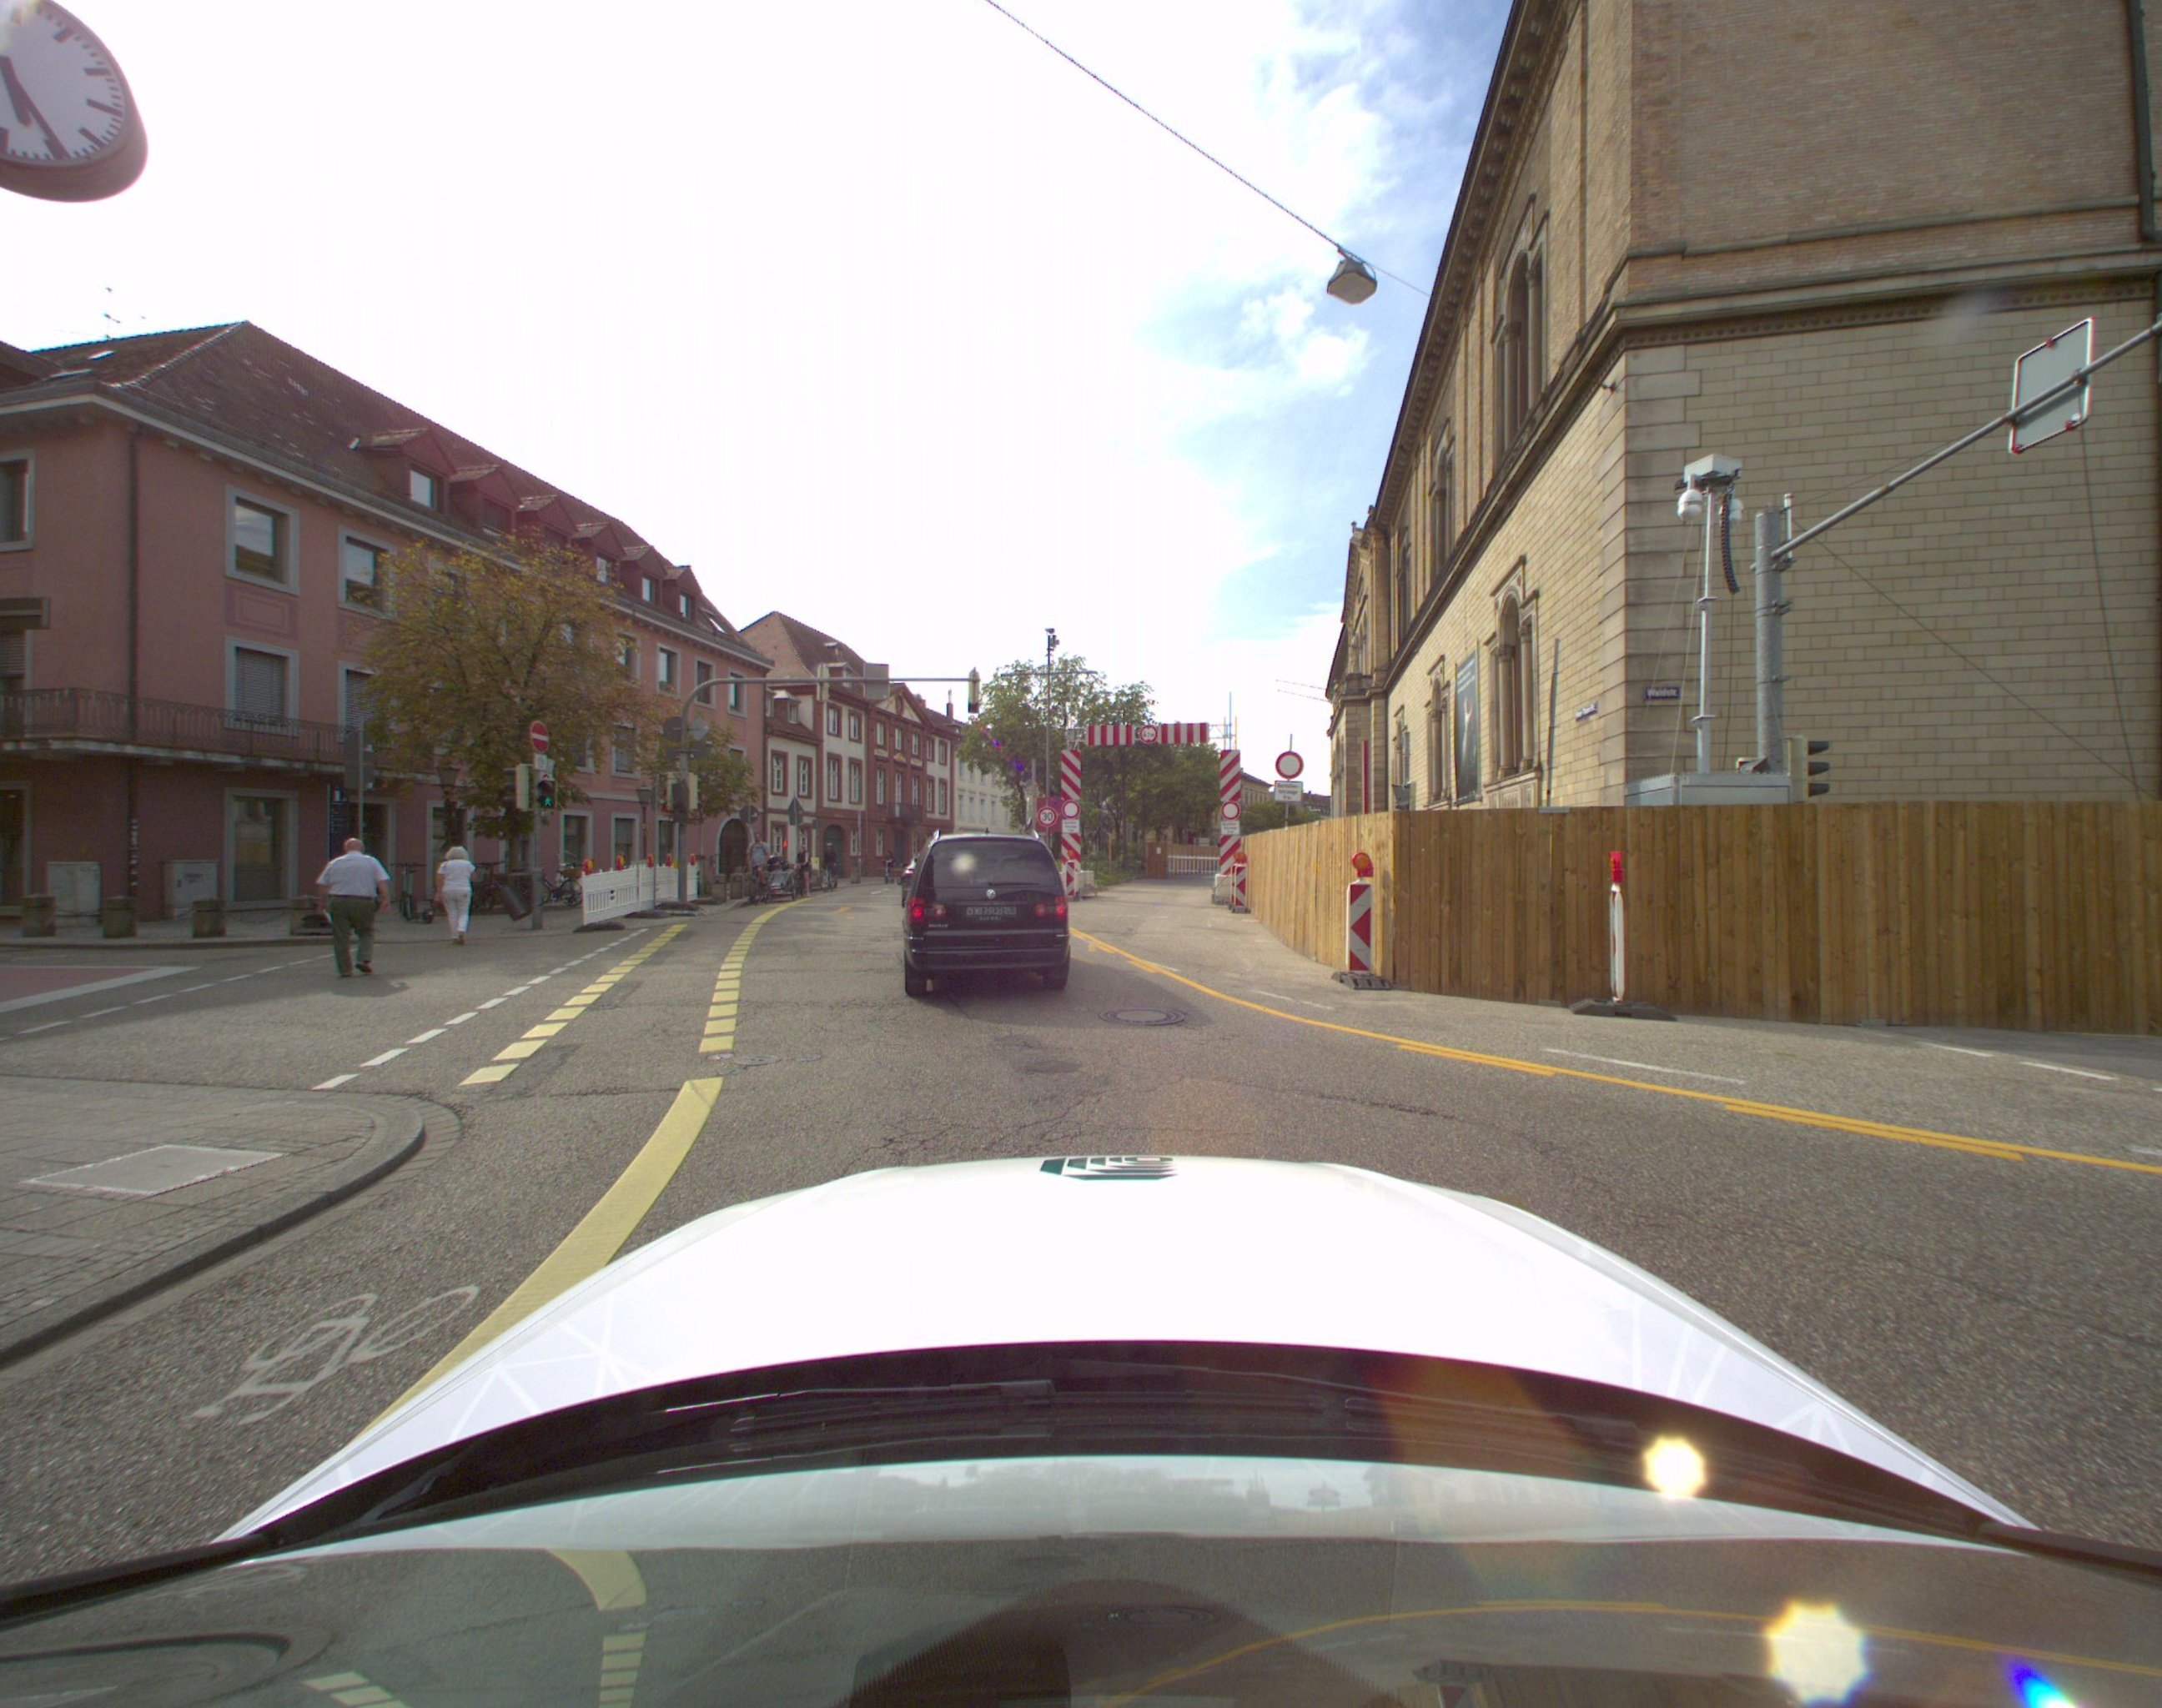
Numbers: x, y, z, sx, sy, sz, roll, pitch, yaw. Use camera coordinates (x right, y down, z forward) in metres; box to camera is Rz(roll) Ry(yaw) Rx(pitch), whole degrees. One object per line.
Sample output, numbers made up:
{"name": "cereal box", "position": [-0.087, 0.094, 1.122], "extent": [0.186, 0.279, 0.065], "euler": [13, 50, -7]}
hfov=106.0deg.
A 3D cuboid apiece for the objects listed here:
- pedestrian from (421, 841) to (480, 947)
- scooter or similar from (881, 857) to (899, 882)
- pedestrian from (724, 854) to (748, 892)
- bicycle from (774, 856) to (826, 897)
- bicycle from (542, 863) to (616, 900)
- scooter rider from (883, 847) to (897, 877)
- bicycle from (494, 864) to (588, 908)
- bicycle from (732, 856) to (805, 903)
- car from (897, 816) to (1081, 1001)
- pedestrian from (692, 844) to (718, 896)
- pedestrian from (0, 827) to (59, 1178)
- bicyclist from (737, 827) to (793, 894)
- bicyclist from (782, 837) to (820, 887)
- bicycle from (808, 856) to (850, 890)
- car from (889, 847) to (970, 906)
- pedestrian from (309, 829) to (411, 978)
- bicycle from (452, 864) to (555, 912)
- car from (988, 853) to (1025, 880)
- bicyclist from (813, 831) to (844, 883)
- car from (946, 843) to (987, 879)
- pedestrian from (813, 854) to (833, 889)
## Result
{"name": "pedestrian", "position": [-10.451, 0.641, 13.527], "extent": [0.668, 1.677, 0.691], "euler": [-2, 0, -32]}
{"name": "scooter or similar", "position": [-9.742, 0.798, 41.520], "extent": [0.598, 1.255, 1.550], "euler": [0, -1, -3]}
{"name": "pedestrian", "position": [-15.512, 0.846, 36.638], "extent": [0.660, 1.677, 0.699], "euler": [-2, 0, 6]}
{"name": "bicycle", "position": [-9.191, 0.711, 26.773], "extent": [0.924, 1.255, 2.538], "euler": [0, -1, -3]}
{"name": "bicycle", "position": [-16.271, 0.871, 26.475], "extent": [0.666, 1.139, 2.068], "euler": [-2, -1, 19]}
{"name": "scooter rider", "position": [-9.730, 0.419, 41.538], "extent": [0.598, 1.490, 0.678], "euler": [0, -1, -3]}
{"name": "bicycle", "position": [-13.752, 0.809, 20.741], "extent": [2.044, 1.059, 0.505], "euler": [-1, -1, 1]}
{"name": "bicycle", "position": [-8.936, 0.694, 23.463], "extent": [1.053, 1.255, 3.037], "euler": [0, 0, -3]}
{"name": "car", "position": [-1.207, 0.541, 10.041], "extent": [1.789, 1.790, 4.090], "euler": [0, 0, -9]}
{"name": "pedestrian", "position": [-12.383, 0.515, 26.827], "extent": [0.668, 1.677, 0.691], "euler": [-2, 0, -32]}
{"name": "pedestrian", "position": [-5.419, 0.692, 3.838], "extent": [0.619, 1.634, 0.538], "euler": [0, -1, -37]}
{"name": "bicyclist", "position": [-8.927, 0.183, 23.098], "extent": [1.088, 1.824, 1.364], "euler": [0, -1, -3]}
{"name": "bicyclist", "position": [-9.190, 0.272, 26.747], "extent": [0.924, 1.609, 1.062], "euler": [0, -1, -3]}
{"name": "bicycle", "position": [-9.778, 0.721, 31.706], "extent": [0.924, 1.255, 2.538], "euler": [0, -1, -3]}
{"name": "car", "position": [-4.238, 0.567, 22.331], "extent": [1.682, 1.469, 4.078], "euler": [0, 0, -18]}
{"name": "pedestrian", "position": [-9.323, 0.608, 10.578], "extent": [0.852, 1.835, 0.848], "euler": [0, -1, -32]}
{"name": "bicycle", "position": [-13.517, 0.786, 19.082], "extent": [2.044, 1.059, 0.505], "euler": [-1, -1, 1]}
{"name": "car", "position": [-4.585, 0.775, 50.467], "extent": [1.766, 1.586, 4.001], "euler": [0, 0, 2]}
{"name": "bicyclist", "position": [-9.776, 0.127, 31.573], "extent": [0.924, 1.963, 1.104], "euler": [0, -1, -3]}
{"name": "car", "position": [-5.302, 0.327, 37.753], "extent": [1.772, 1.586, 3.988], "euler": [0, -1, -8]}
{"name": "pedestrian", "position": [-12.854, 0.863, 40.610], "extent": [0.660, 1.677, 0.699], "euler": [-2, 0, 6]}
